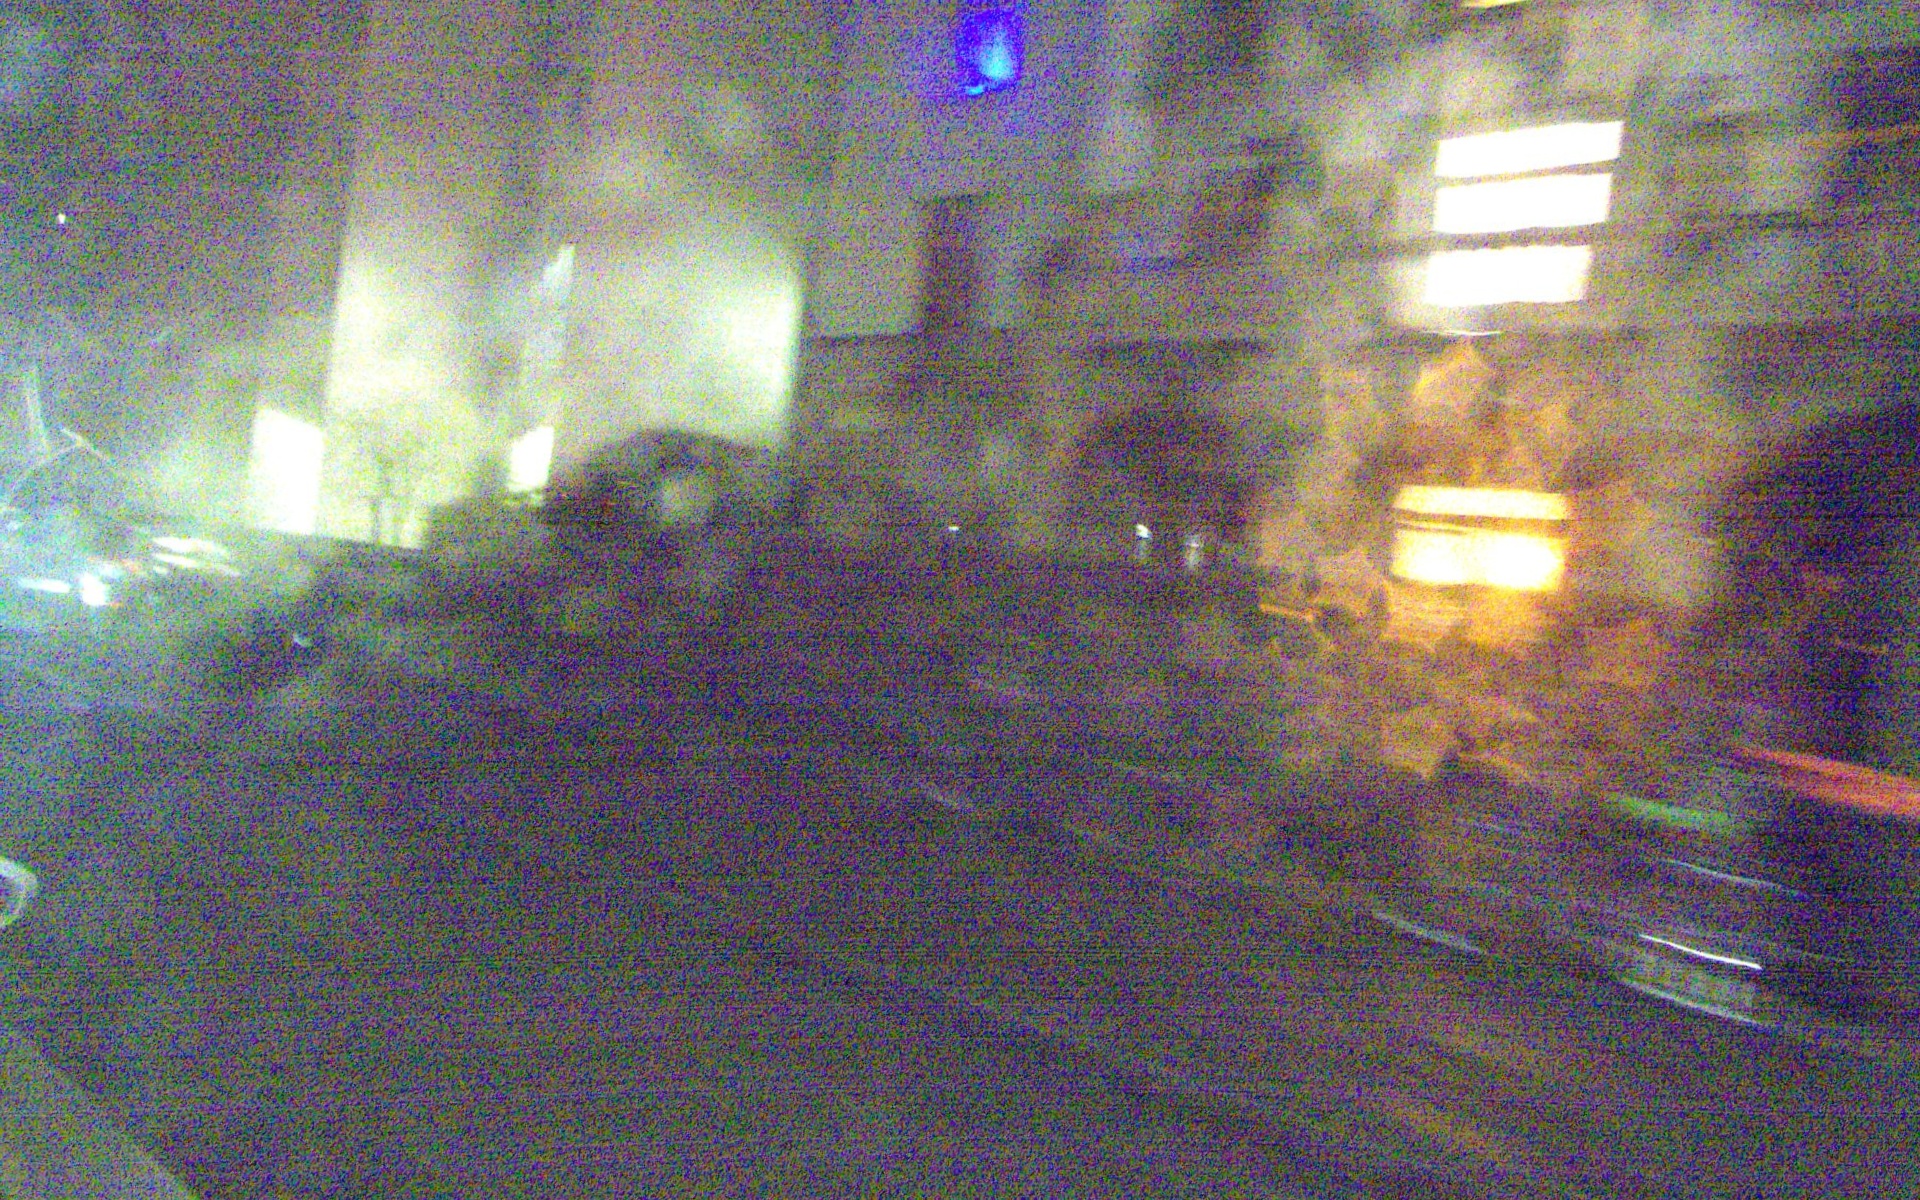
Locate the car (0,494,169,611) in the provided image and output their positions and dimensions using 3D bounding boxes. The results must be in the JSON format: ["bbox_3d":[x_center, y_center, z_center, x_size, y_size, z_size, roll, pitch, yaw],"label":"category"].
[{"bbox_3d":[-13.809,-0.738,14.930,1.780,1.506,3.844,7,-1,-16],"label":"car"}]

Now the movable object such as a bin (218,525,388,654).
[{"bbox_3d":[-8.191,-0.096,12.614,1.007,1.424,1.353,7,-1,12],"label":"movable object such as a bin"}]

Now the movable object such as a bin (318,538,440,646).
[{"bbox_3d":[-8.800,-0.122,15.226,1.396,1.424,1.023,7,0,37],"label":"movable object such as a bin"}]

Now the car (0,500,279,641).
[{"bbox_3d":[-11.273,-0.326,13.737,1.741,1.474,3.786,8,-3,-10],"label":"car"}]

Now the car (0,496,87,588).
[{"bbox_3d":[-16.556,-1.085,16.528,1.575,1.454,3.829,8,-3,-13],"label":"car"}]

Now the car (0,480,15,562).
[{"bbox_3d":[-22.694,-2.018,21.155,1.931,1.859,4.170,9,-3,-10],"label":"car"}]

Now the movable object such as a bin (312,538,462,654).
[{"bbox_3d":[-7.934,-0.030,14.014,1.007,1.424,1.413,7,0,12],"label":"movable object such as a bin"}]
